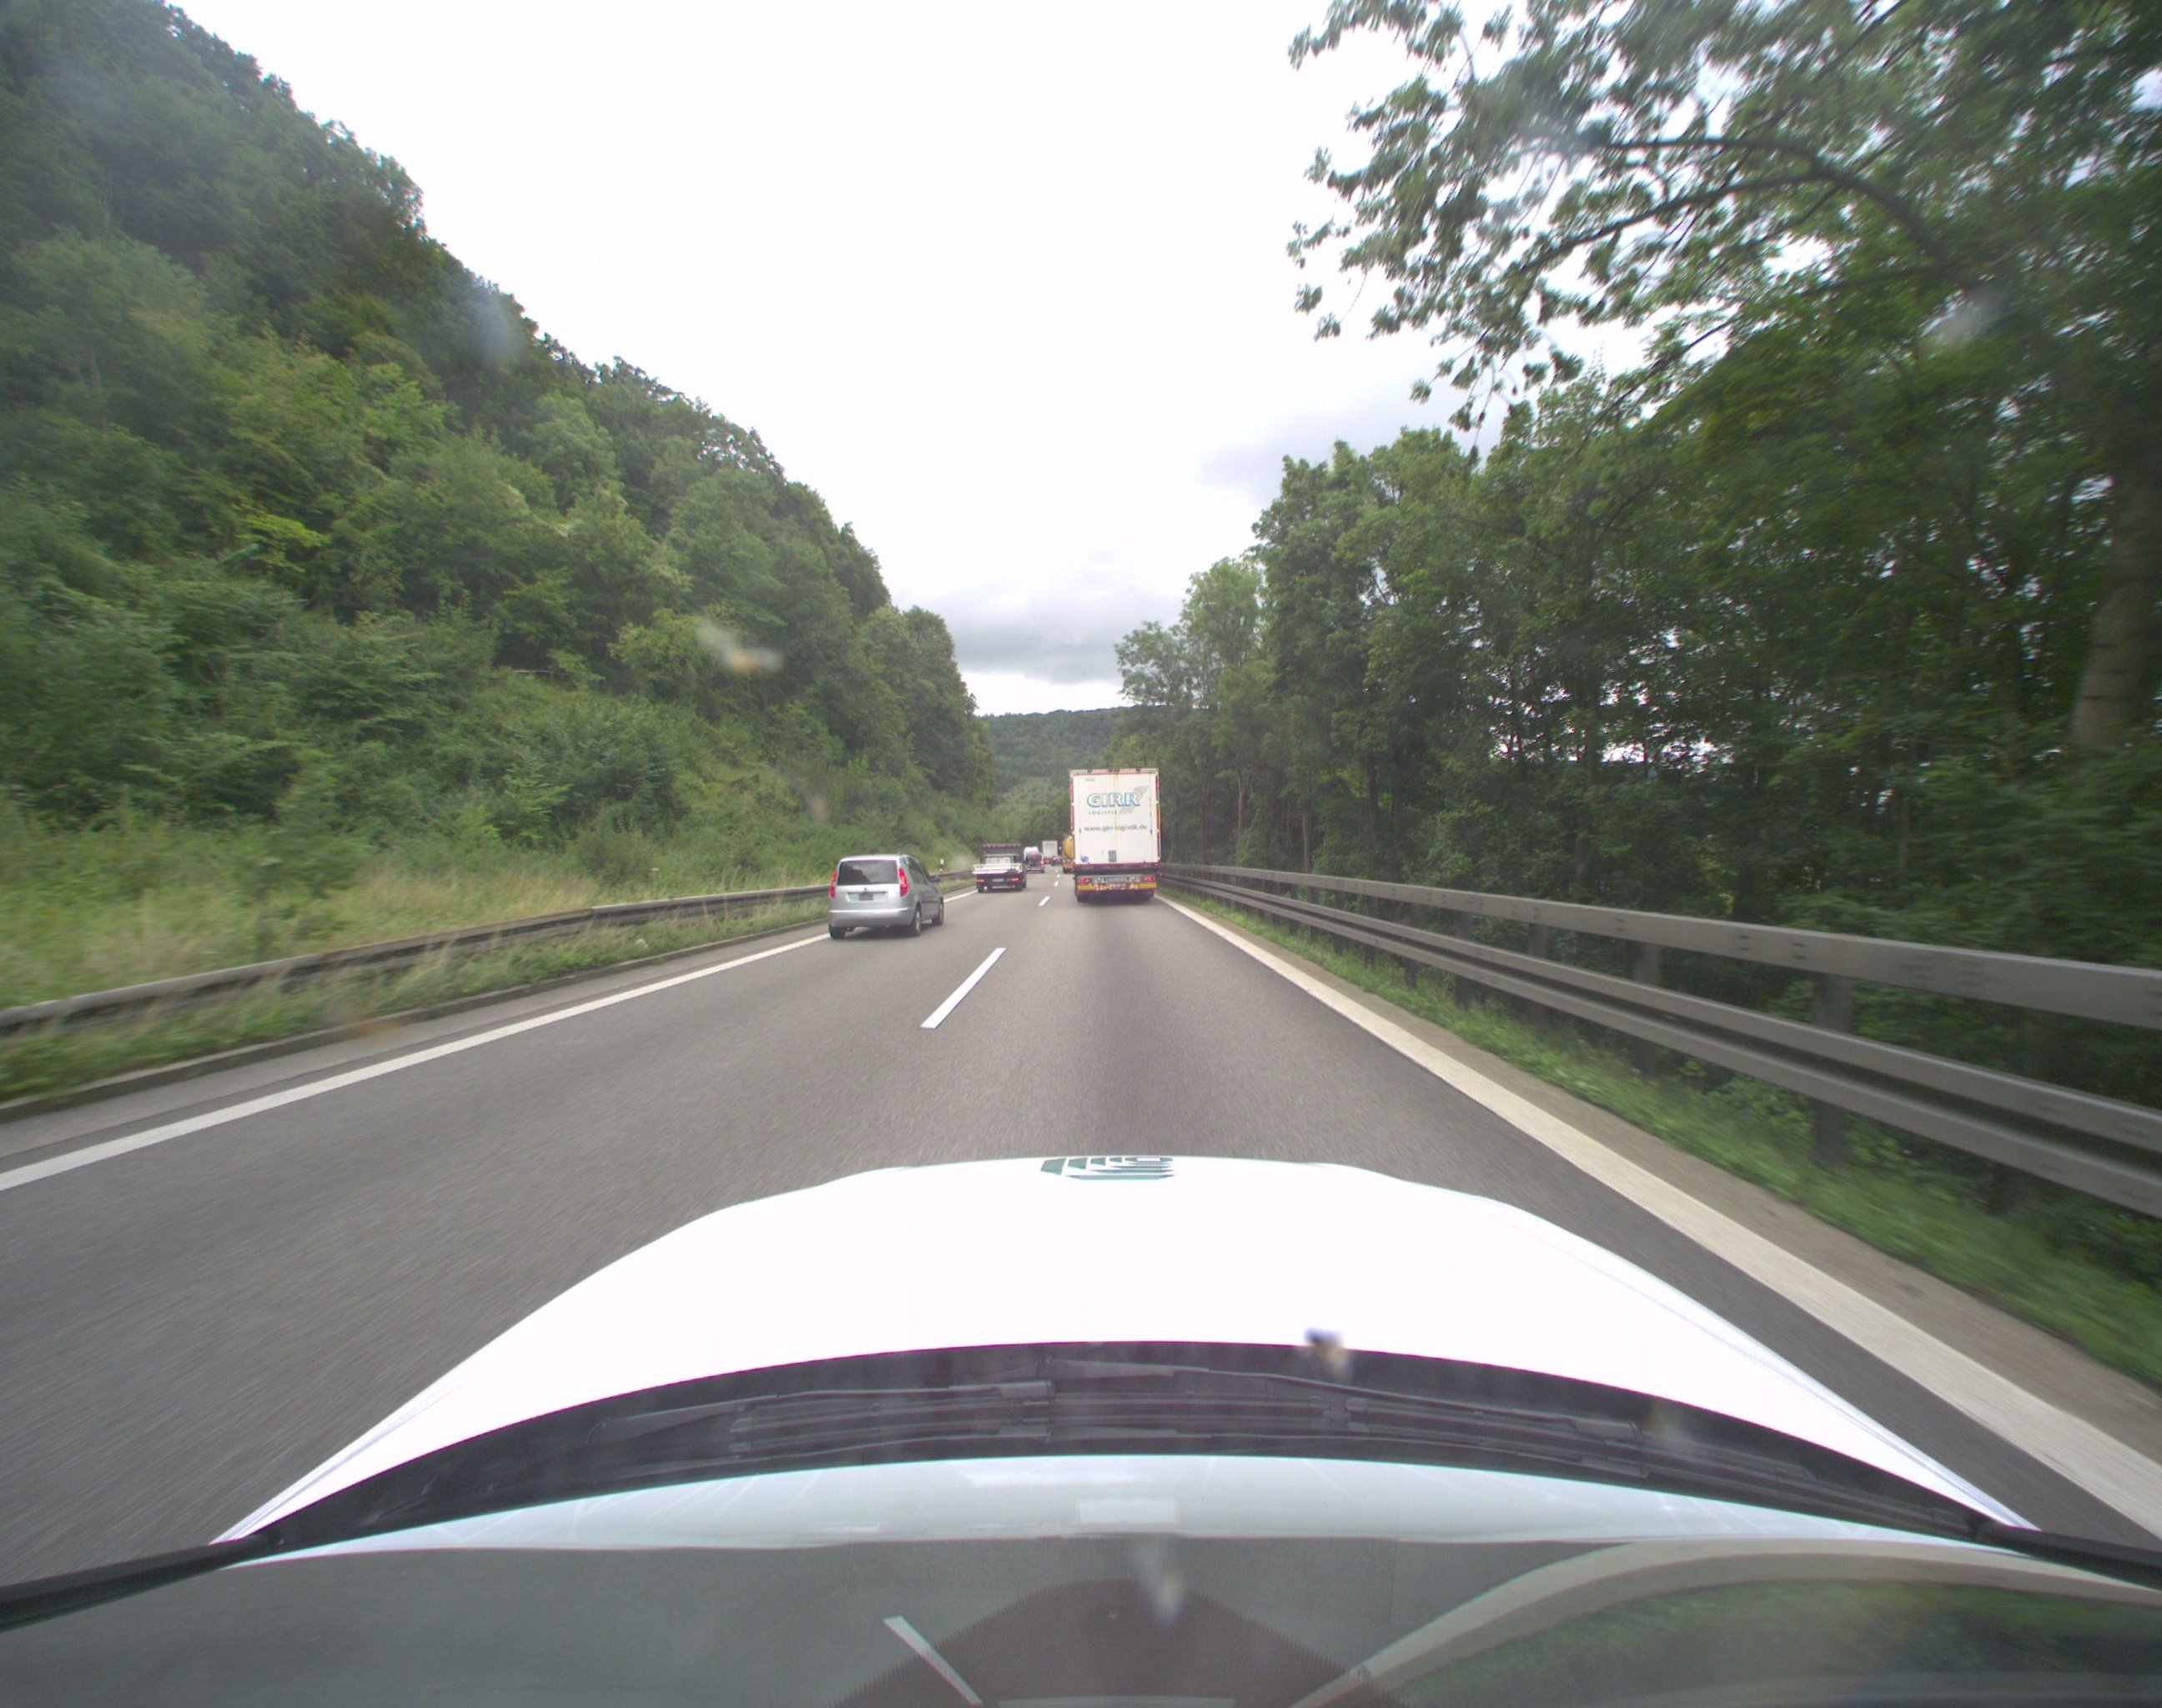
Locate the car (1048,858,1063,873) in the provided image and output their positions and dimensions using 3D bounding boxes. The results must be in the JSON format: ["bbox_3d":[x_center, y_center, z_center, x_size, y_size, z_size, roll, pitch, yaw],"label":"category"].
[{"bbox_3d":[-3.618,1.656,116.182,1.990,2.014,3.994,0,-1,-4],"label":"car"}]

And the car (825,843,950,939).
[{"bbox_3d":[-3.892,0.678,17.067,1.629,1.726,4.342,-1,0,-1],"label":"car"}]

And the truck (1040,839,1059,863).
[{"bbox_3d":[-5.465,-0.480,139.459,3.063,3.877,8.445,0,-1,-4],"label":"truck"}]

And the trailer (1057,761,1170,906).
[{"bbox_3d":[1.045,-0.581,27.907,3.121,4.043,9.442,1,0,1],"label":"trailer"}]

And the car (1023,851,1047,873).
[{"bbox_3d":[-4.166,0.711,74.767,2.013,1.914,5.559,0,0,-2],"label":"car"}]

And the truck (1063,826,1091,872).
[{"bbox_3d":[-0.286,-0.389,71.453,2.226,3.804,6.823,0,-1,1],"label":"truck"}]

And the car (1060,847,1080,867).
[{"bbox_3d":[-1.113,0.285,83.481,1.988,2.014,4.330,0,-1,-1],"label":"car"}]

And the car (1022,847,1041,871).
[{"bbox_3d":[-5.765,0.556,94.546,2.119,2.598,5.556,-1,0,-3],"label":"car"}]

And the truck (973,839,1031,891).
[{"bbox_3d":[-3.690,0.510,39.172,2.343,2.274,6.843,0,0,-2],"label":"truck"}]
